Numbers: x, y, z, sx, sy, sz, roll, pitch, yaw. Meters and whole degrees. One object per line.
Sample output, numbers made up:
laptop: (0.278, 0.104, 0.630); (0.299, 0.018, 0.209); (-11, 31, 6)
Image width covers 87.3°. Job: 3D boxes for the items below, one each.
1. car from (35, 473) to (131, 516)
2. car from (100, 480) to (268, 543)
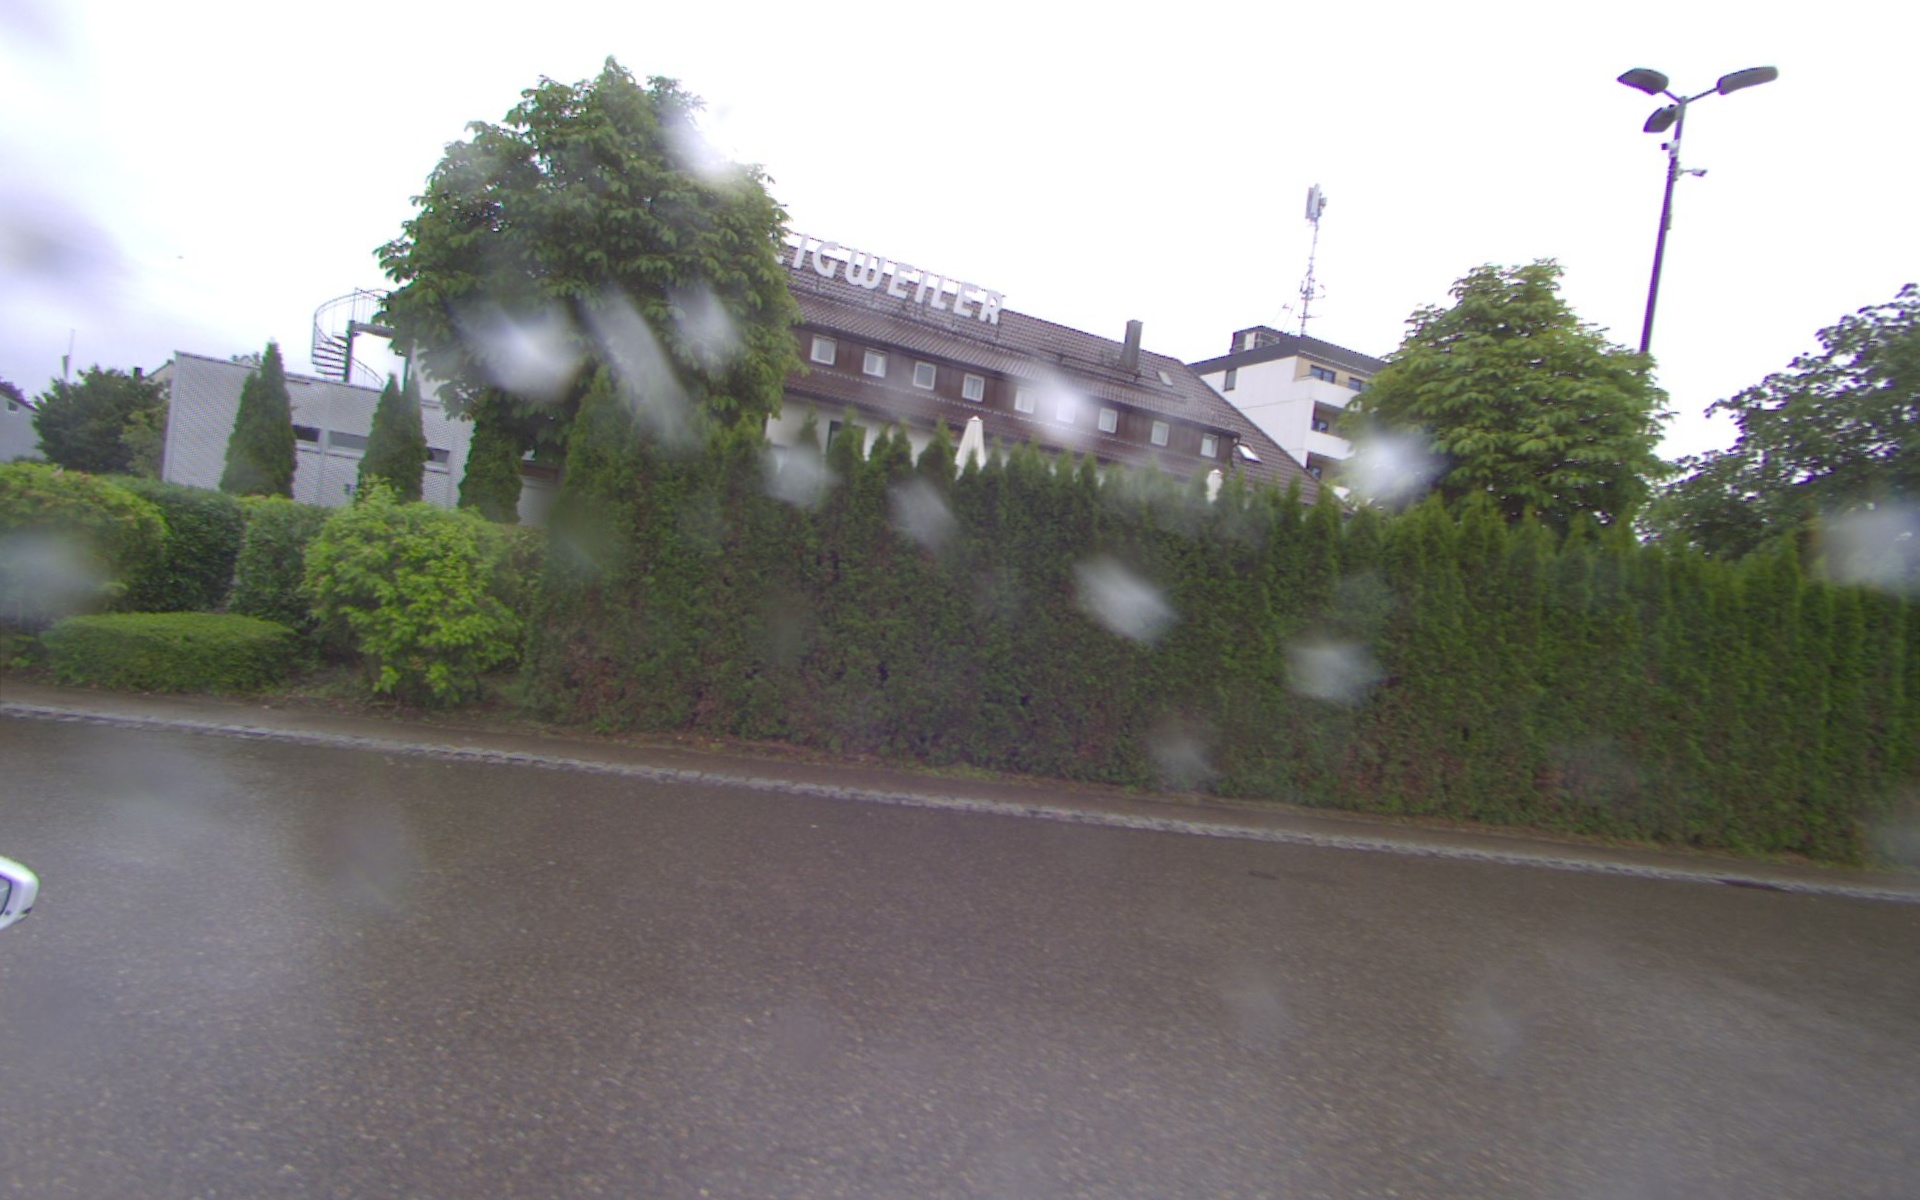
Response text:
car: (-39.949, -4.805, 45.817); (3.611, 1.477, 1.585); (7, 2, 17)
car: (-25.932, -2.948, 33.813); (4.138, 1.517, 1.705); (6, 2, -28)
